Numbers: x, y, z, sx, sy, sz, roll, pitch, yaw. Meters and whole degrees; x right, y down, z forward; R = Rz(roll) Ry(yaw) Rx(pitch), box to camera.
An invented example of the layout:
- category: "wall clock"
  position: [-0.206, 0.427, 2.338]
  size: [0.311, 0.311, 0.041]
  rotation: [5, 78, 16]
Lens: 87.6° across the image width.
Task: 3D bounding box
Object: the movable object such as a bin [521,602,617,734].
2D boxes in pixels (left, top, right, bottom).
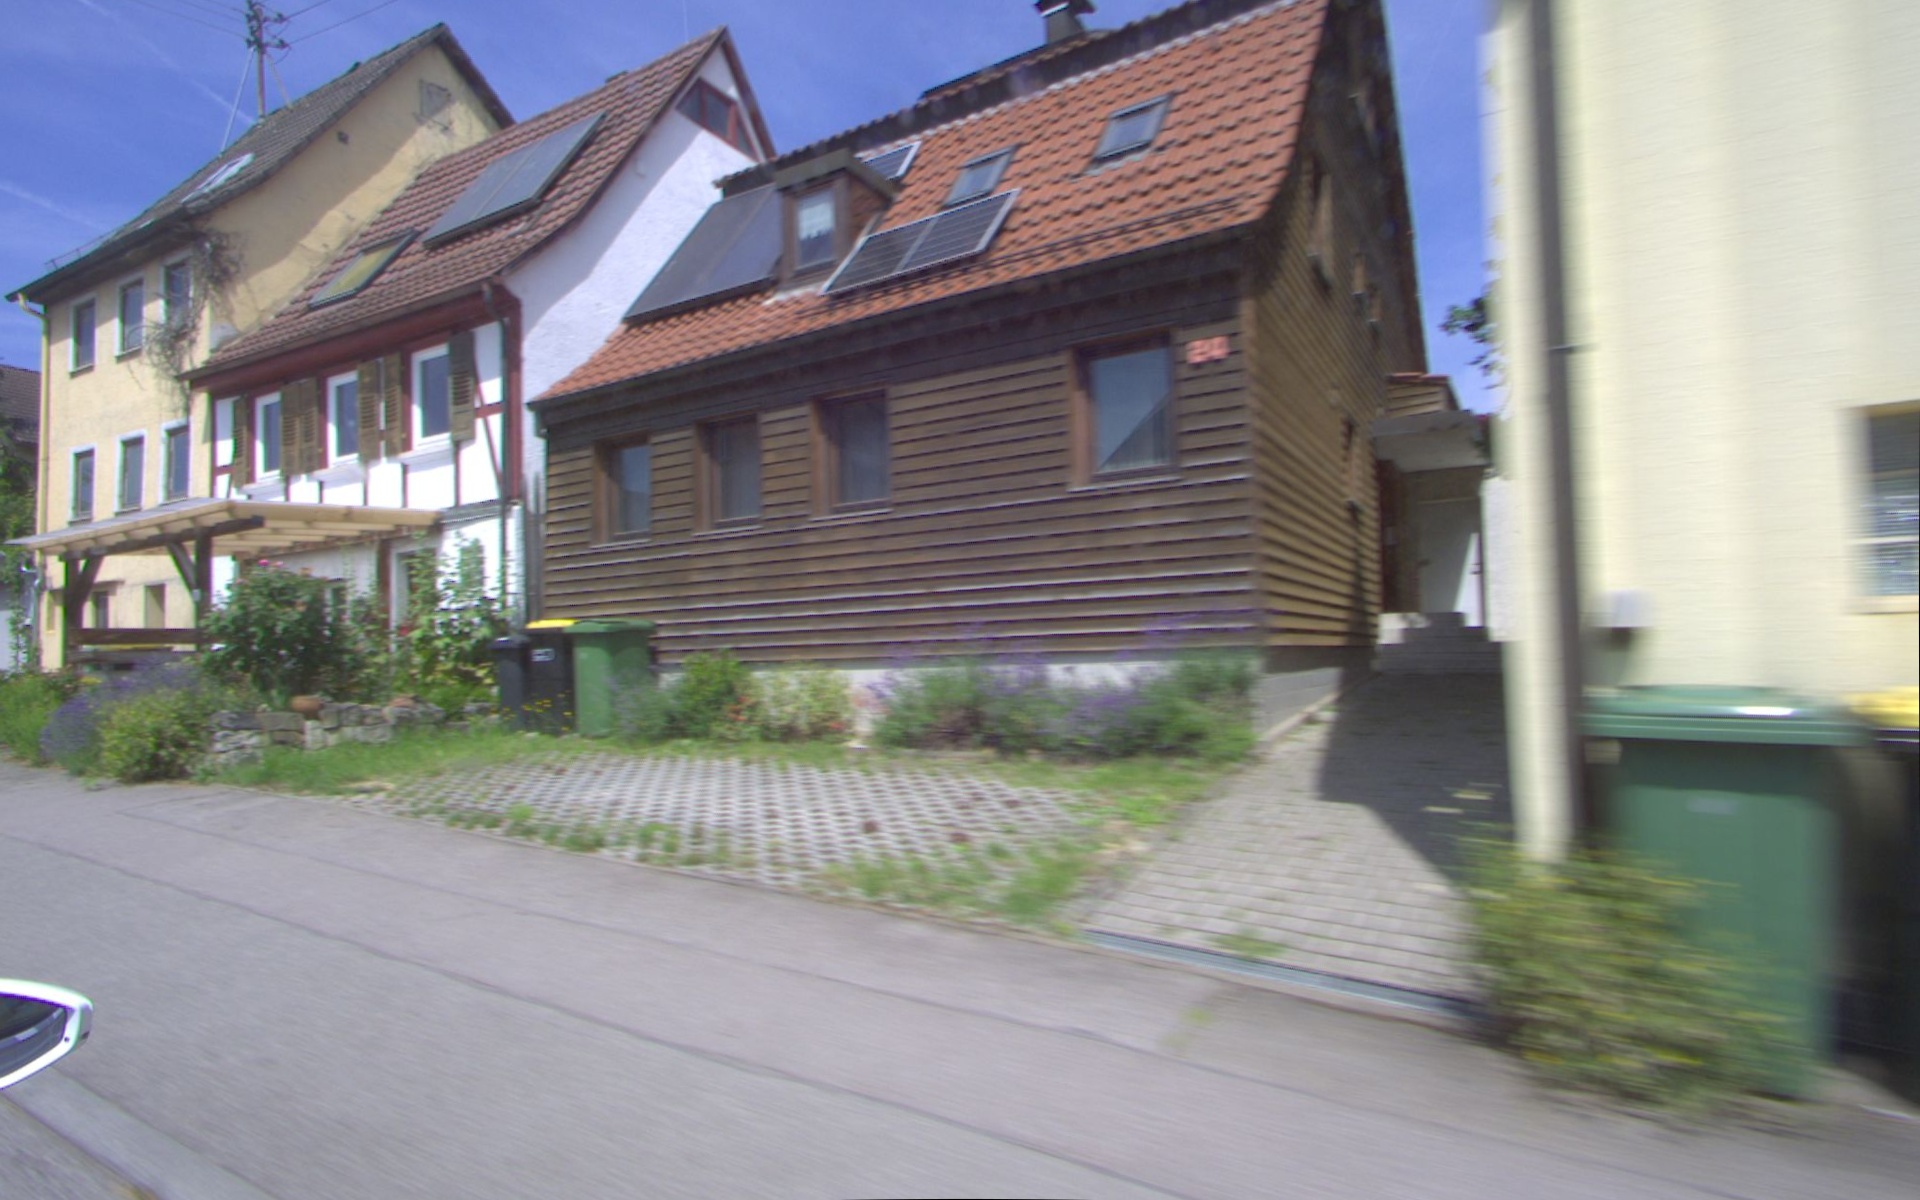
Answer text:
- category: "movable object such as a bin"
  position: [-3.736, 0.637, 9.585]
  size: [0.540, 1.174, 0.533]
  rotation: [-1, 5, 27]

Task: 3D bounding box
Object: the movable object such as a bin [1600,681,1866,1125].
- category: "movable object such as a bin"
  position: [2.167, 0.791, 2.875]
  size: [0.543, 1.048, 0.545]
  rotation: [0, 2, 32]

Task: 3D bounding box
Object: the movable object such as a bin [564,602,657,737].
- category: "movable object such as a bin"
  position: [-3.241, 0.628, 9.310]
  size: [0.503, 1.174, 0.533]
  rotation: [-1, 6, 28]

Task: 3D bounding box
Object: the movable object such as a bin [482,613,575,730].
- category: "movable object such as a bin"
  position: [-4.245, 0.692, 9.877]
  size: [0.540, 1.072, 0.533]
  rotation: [-1, 5, 27]

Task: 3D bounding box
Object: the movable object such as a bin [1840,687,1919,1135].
- category: "movable object such as a bin"
  position: [2.670, 0.783, 2.557]
  size: [0.543, 1.048, 0.545]
  rotation: [0, 2, 32]
